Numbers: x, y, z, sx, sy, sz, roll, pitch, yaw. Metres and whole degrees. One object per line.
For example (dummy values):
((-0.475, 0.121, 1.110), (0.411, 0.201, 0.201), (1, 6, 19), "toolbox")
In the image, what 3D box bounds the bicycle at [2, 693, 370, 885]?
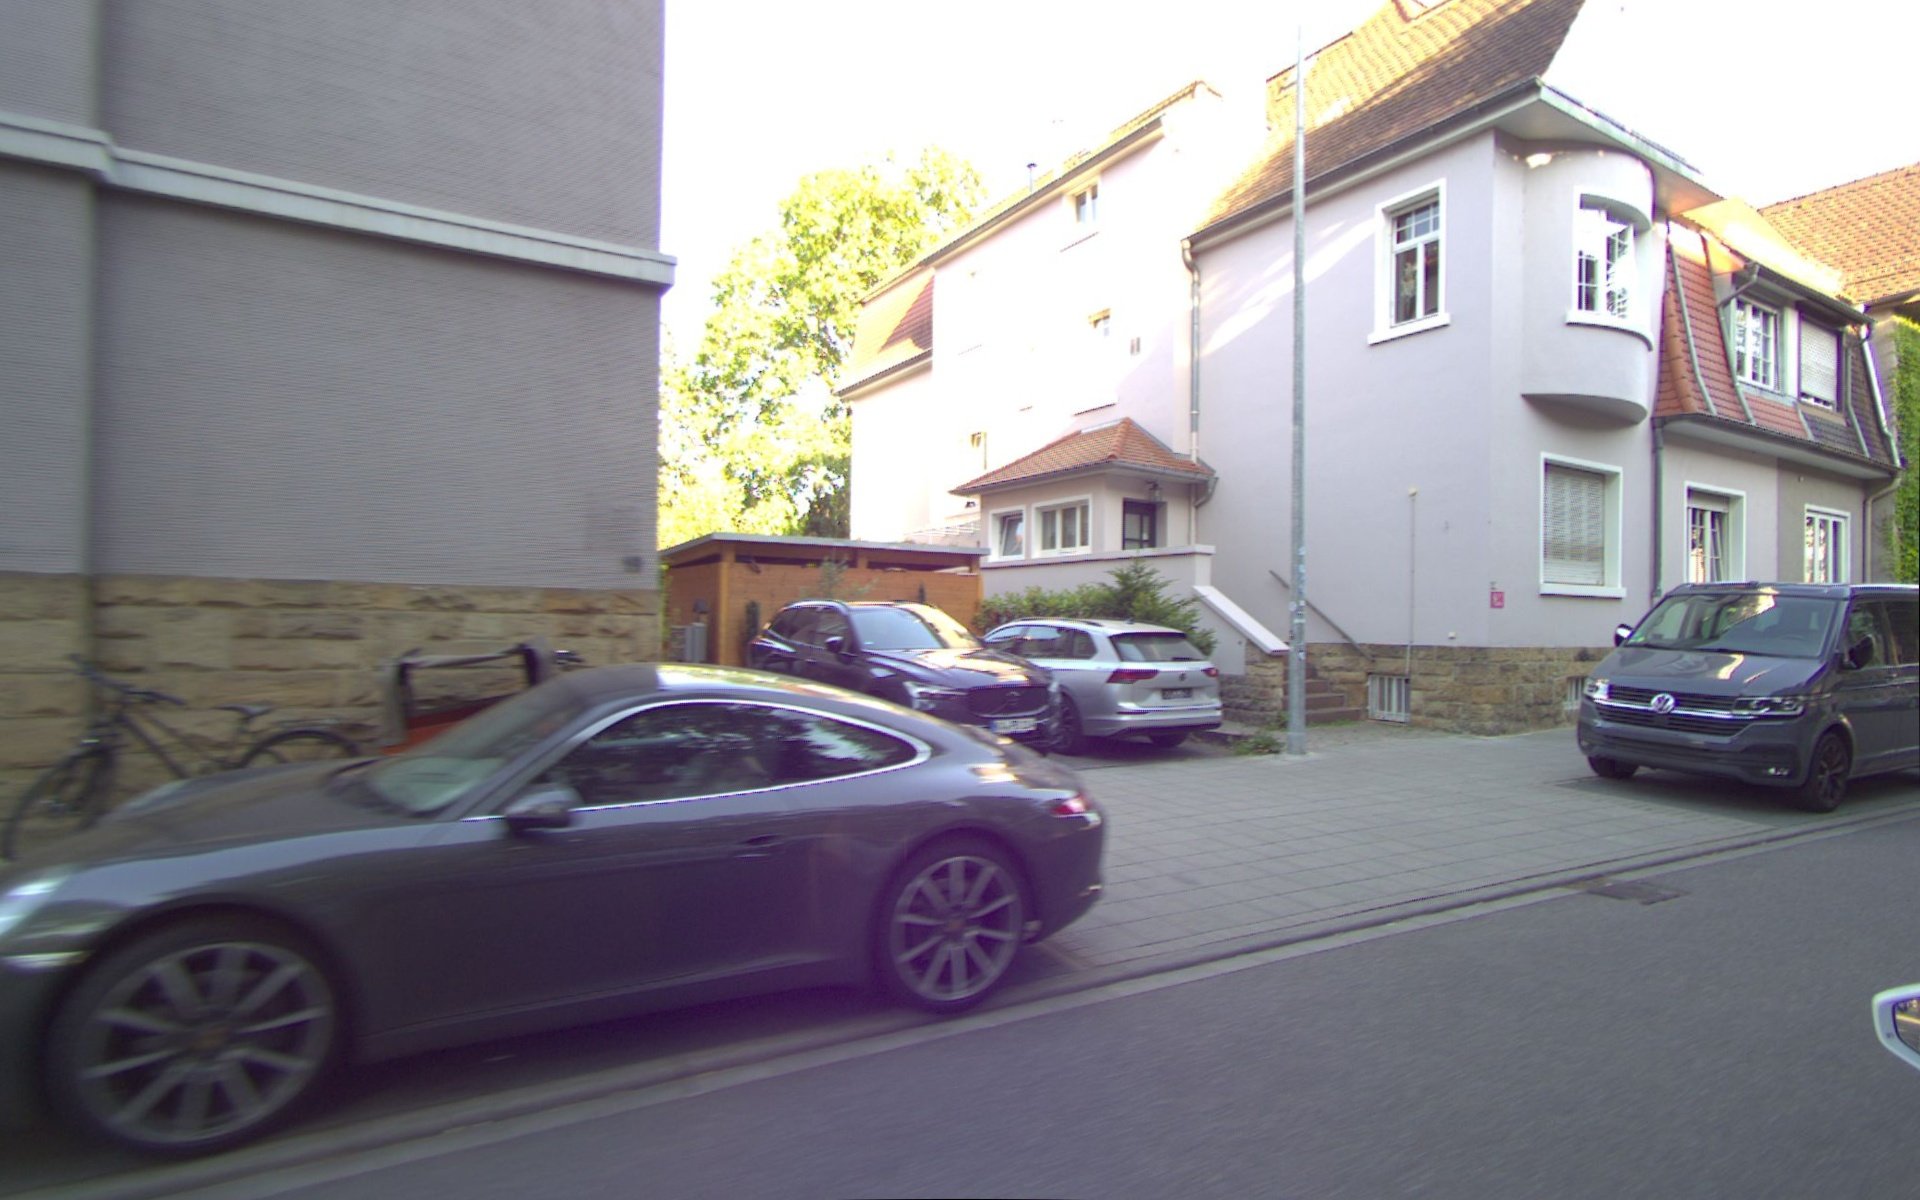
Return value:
((-4.539, 1.076, 6.037), (1.701, 0.949, 0.392), (0, -1, -30), "bicycle")

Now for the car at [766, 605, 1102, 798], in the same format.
((-0.461, 0.888, 10.709), (1.877, 1.643, 3.841), (0, -1, -33), "car")

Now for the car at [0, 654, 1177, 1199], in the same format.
((-1.246, 0.968, 4.068), (4.172, 1.336, 1.525), (0, 0, -28), "car")

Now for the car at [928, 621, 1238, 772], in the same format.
((1.290, 0.999, 12.019), (1.617, 1.463, 3.841), (0, -1, -33), "car")

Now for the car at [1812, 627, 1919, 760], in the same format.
((12.692, 1.109, 12.676), (4.187, 1.466, 1.646), (0, 0, -30), "car")

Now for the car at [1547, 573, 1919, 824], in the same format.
((8.174, 0.794, 9.992), (4.795, 1.973, 1.972), (0, 0, -31), "car")

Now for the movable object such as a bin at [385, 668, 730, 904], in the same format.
((-2.657, 1.148, 6.741), (2.071, 1.300, 0.718), (0, -1, -30), "movable object such as a bin")
